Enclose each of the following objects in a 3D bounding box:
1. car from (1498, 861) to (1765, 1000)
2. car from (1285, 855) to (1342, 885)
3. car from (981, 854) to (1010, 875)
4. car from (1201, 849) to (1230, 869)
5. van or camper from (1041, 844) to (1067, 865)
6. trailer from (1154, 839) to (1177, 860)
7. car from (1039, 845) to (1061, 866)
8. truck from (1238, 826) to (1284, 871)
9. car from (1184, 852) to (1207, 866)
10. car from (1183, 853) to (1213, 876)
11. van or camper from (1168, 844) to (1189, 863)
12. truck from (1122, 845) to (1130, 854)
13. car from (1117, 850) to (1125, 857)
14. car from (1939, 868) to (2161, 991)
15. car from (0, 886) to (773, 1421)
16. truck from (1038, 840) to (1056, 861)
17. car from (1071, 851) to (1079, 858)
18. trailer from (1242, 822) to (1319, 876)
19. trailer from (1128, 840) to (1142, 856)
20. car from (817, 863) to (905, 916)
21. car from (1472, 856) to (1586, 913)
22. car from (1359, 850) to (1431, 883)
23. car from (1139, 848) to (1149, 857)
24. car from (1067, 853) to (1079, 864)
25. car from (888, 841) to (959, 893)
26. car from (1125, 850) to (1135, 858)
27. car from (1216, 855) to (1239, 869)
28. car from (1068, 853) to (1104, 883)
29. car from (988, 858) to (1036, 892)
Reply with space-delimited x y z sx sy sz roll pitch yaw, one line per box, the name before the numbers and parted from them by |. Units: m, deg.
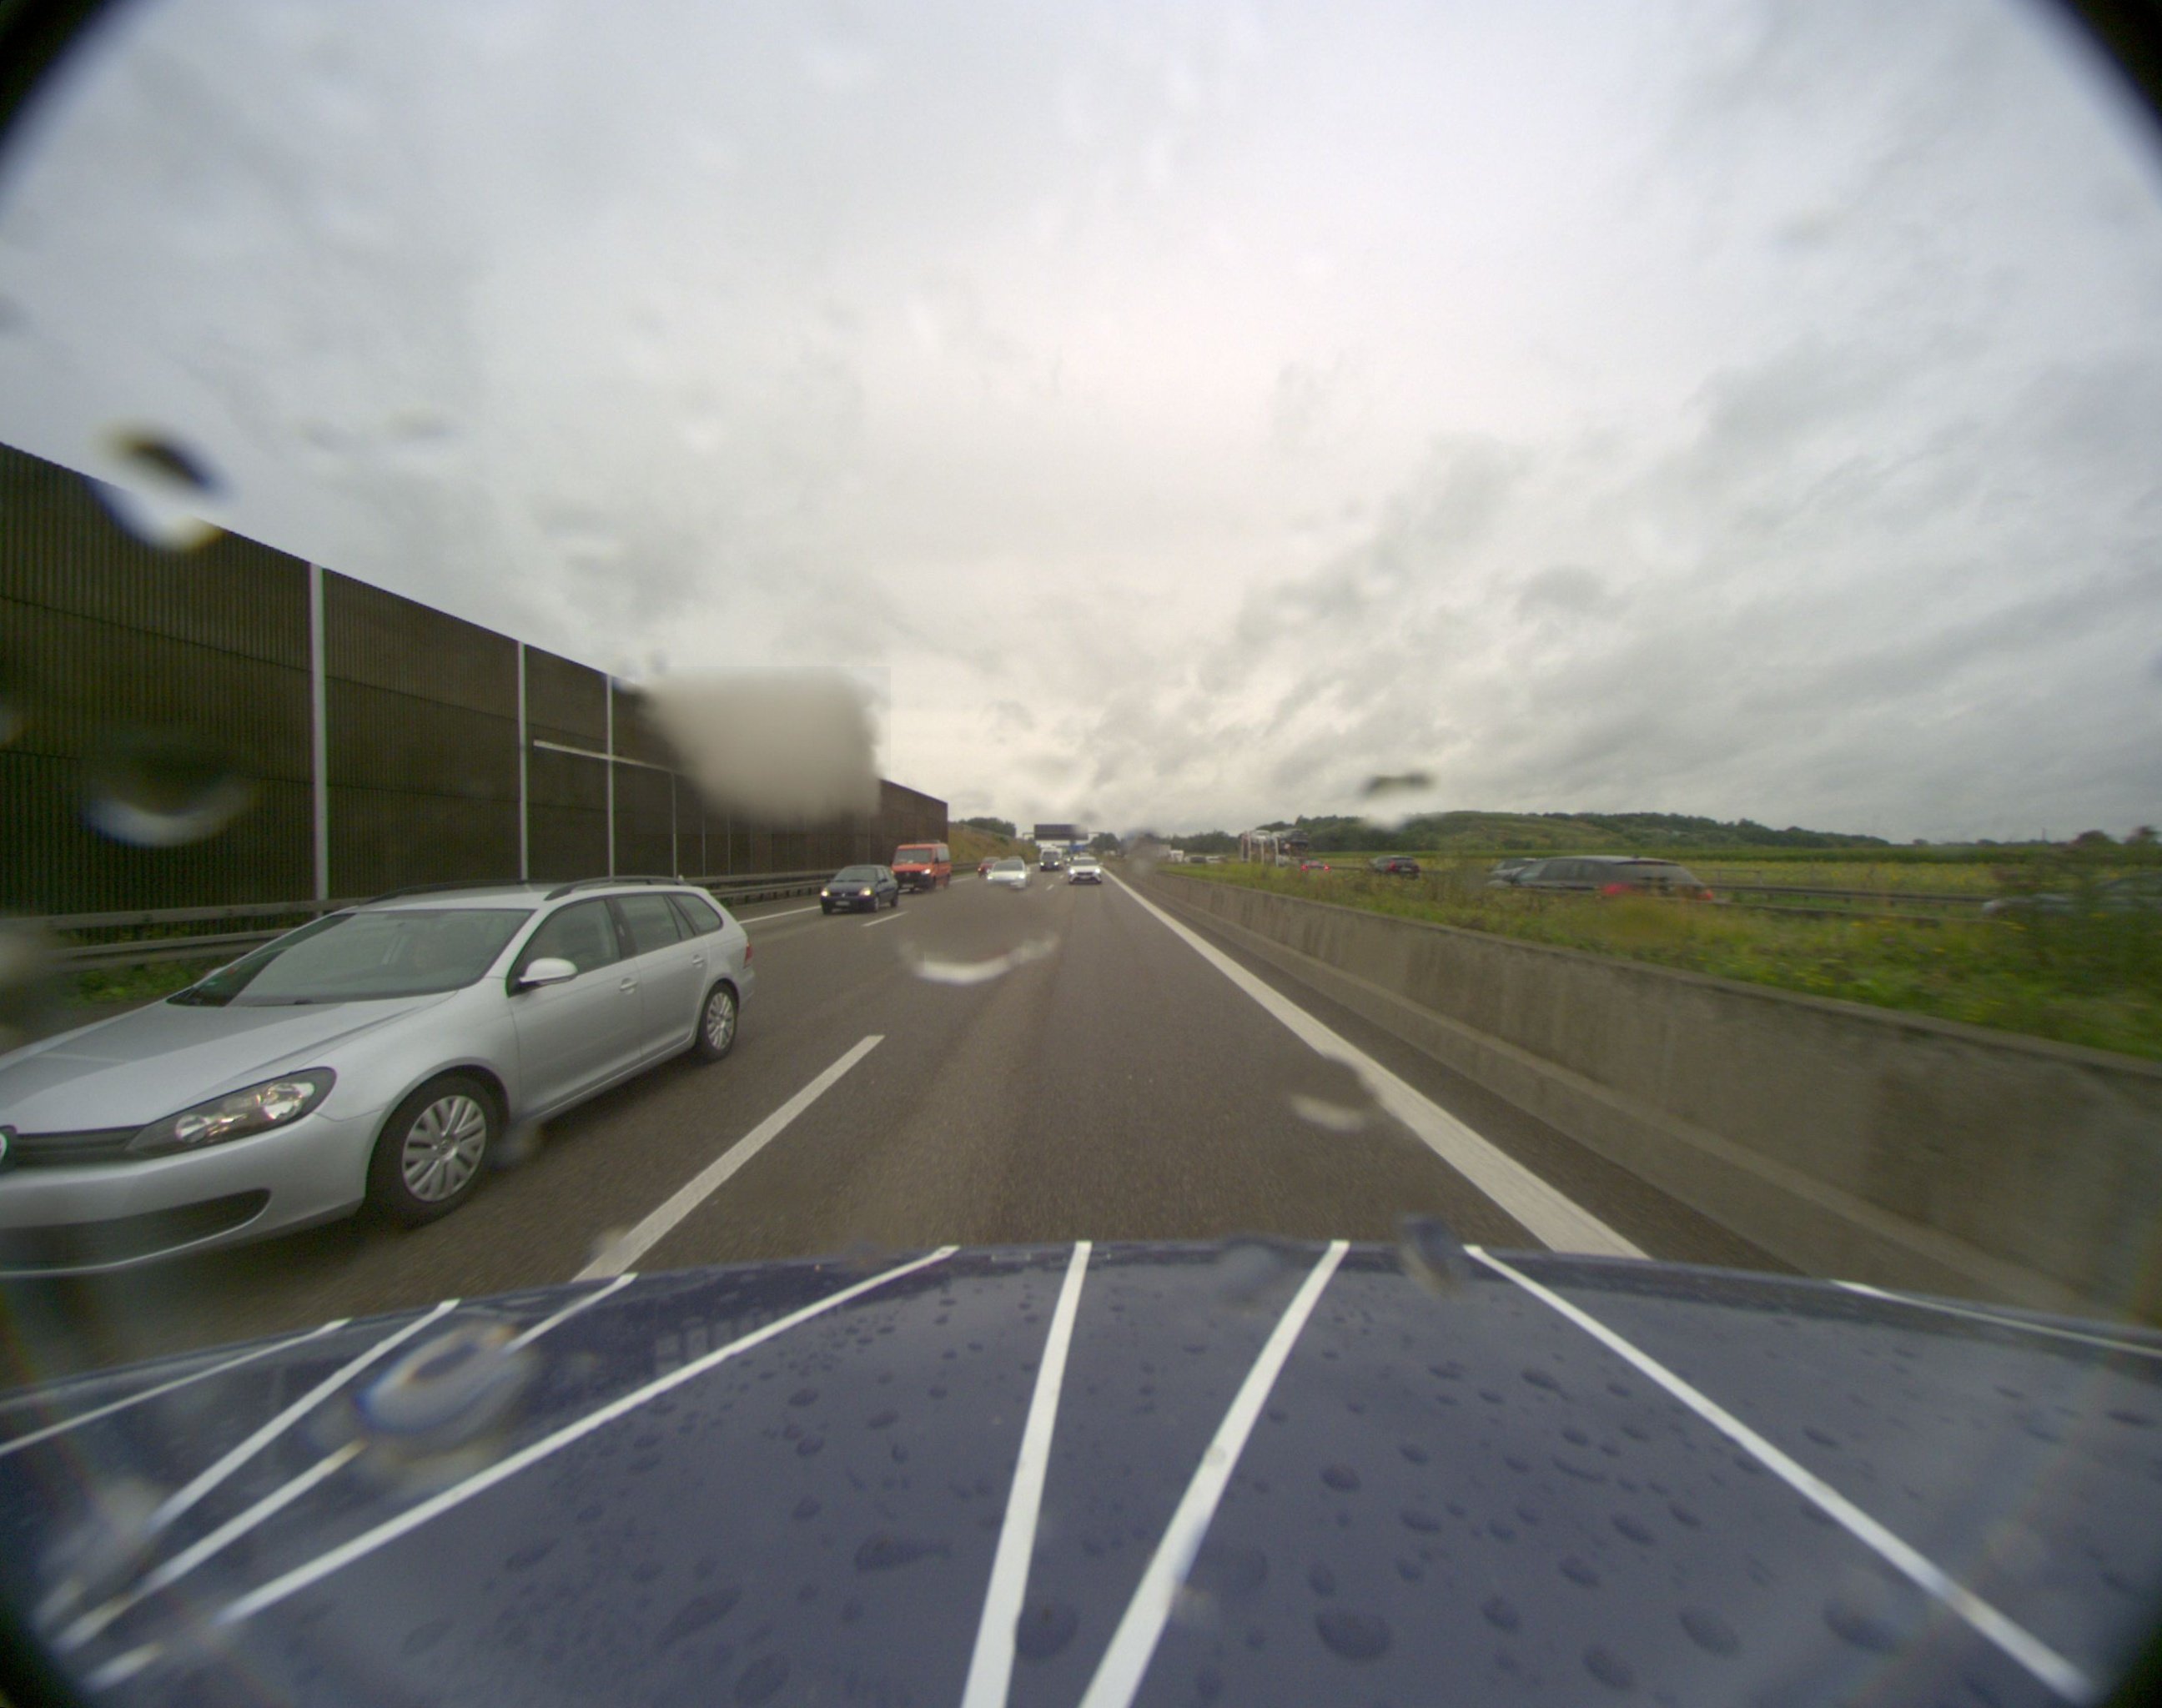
car | 9.275 1.161 13.295 1.790 2.002 4.000 0 0 1
car | 14.046 0.928 46.258 2.098 1.700 4.800 -1 0 2
car | -7.023 0.871 62.620 1.878 1.526 3.999 -3 1 0
car | 13.759 0.491 78.007 1.998 1.868 5.031 -2 1 1
van or camper | -2.986 0.051 85.544 2.432 2.139 6.497 -2 1 1
trailer | 19.279 -1.109 174.745 3.722 4.247 15.621 -2 1 1
car | -3.251 0.150 80.015 1.998 2.002 4.937 -2 1 1
truck | 17.895 -0.578 75.913 2.964 4.217 6.233 -2 1 0
car | 14.429 0.571 95.918 2.099 1.700 5.164 -2 0 0
car | 9.341 0.817 60.902 1.819 1.805 4.000 0 0 1
van or camper | 18.761 -0.156 146.925 2.716 3.483 7.697 -3 1 -2
truck | 15.673 -1.602 264.973 2.317 2.892 7.423 -2 1 1
car | 11.020 -0.106 210.402 1.998 1.754 5.071 0 0 0
car | 18.841 1.293 13.172 1.824 1.958 5.259 0 0 -3
car | -3.679 1.027 4.587 1.746 1.417 4.516 -1 1 0
truck | -6.759 -0.743 151.345 3.090 4.003 6.954 -3 1 -1
car | -1.587 0.190 207.105 1.998 1.696 3.999 -2 1 1
trailer | 17.787 -0.503 69.350 3.006 4.217 15.705 -2 1 1
trailer | 14.583 -1.649 205.627 3.093 4.065 12.328 -2 1 1
car | -6.920 1.058 24.253 1.707 1.393 3.874 -3 1 -2
car | 16.869 1.083 28.858 1.998 2.002 4.000 0 0 1
car | 17.588 0.659 42.875 2.098 1.700 4.961 -1 0 2
car | 14.663 -0.334 175.731 1.888 1.913 5.277 0 0 0
car | -1.441 0.814 129.963 1.999 1.759 3.999 -1 0 -2
car | -7.584 0.579 37.312 2.091 2.302 6.181 -2 0 1
car | 11.035 0.000 170.648 1.888 1.913 4.173 0 0 0
car | 18.870 0.980 98.004 2.098 1.700 4.800 -1 0 2
car | 0.282 0.750 42.653 1.841 1.455 3.999 -2 1 1
car | -3.288 0.976 37.066 1.878 1.355 4.812 -2 1 0
